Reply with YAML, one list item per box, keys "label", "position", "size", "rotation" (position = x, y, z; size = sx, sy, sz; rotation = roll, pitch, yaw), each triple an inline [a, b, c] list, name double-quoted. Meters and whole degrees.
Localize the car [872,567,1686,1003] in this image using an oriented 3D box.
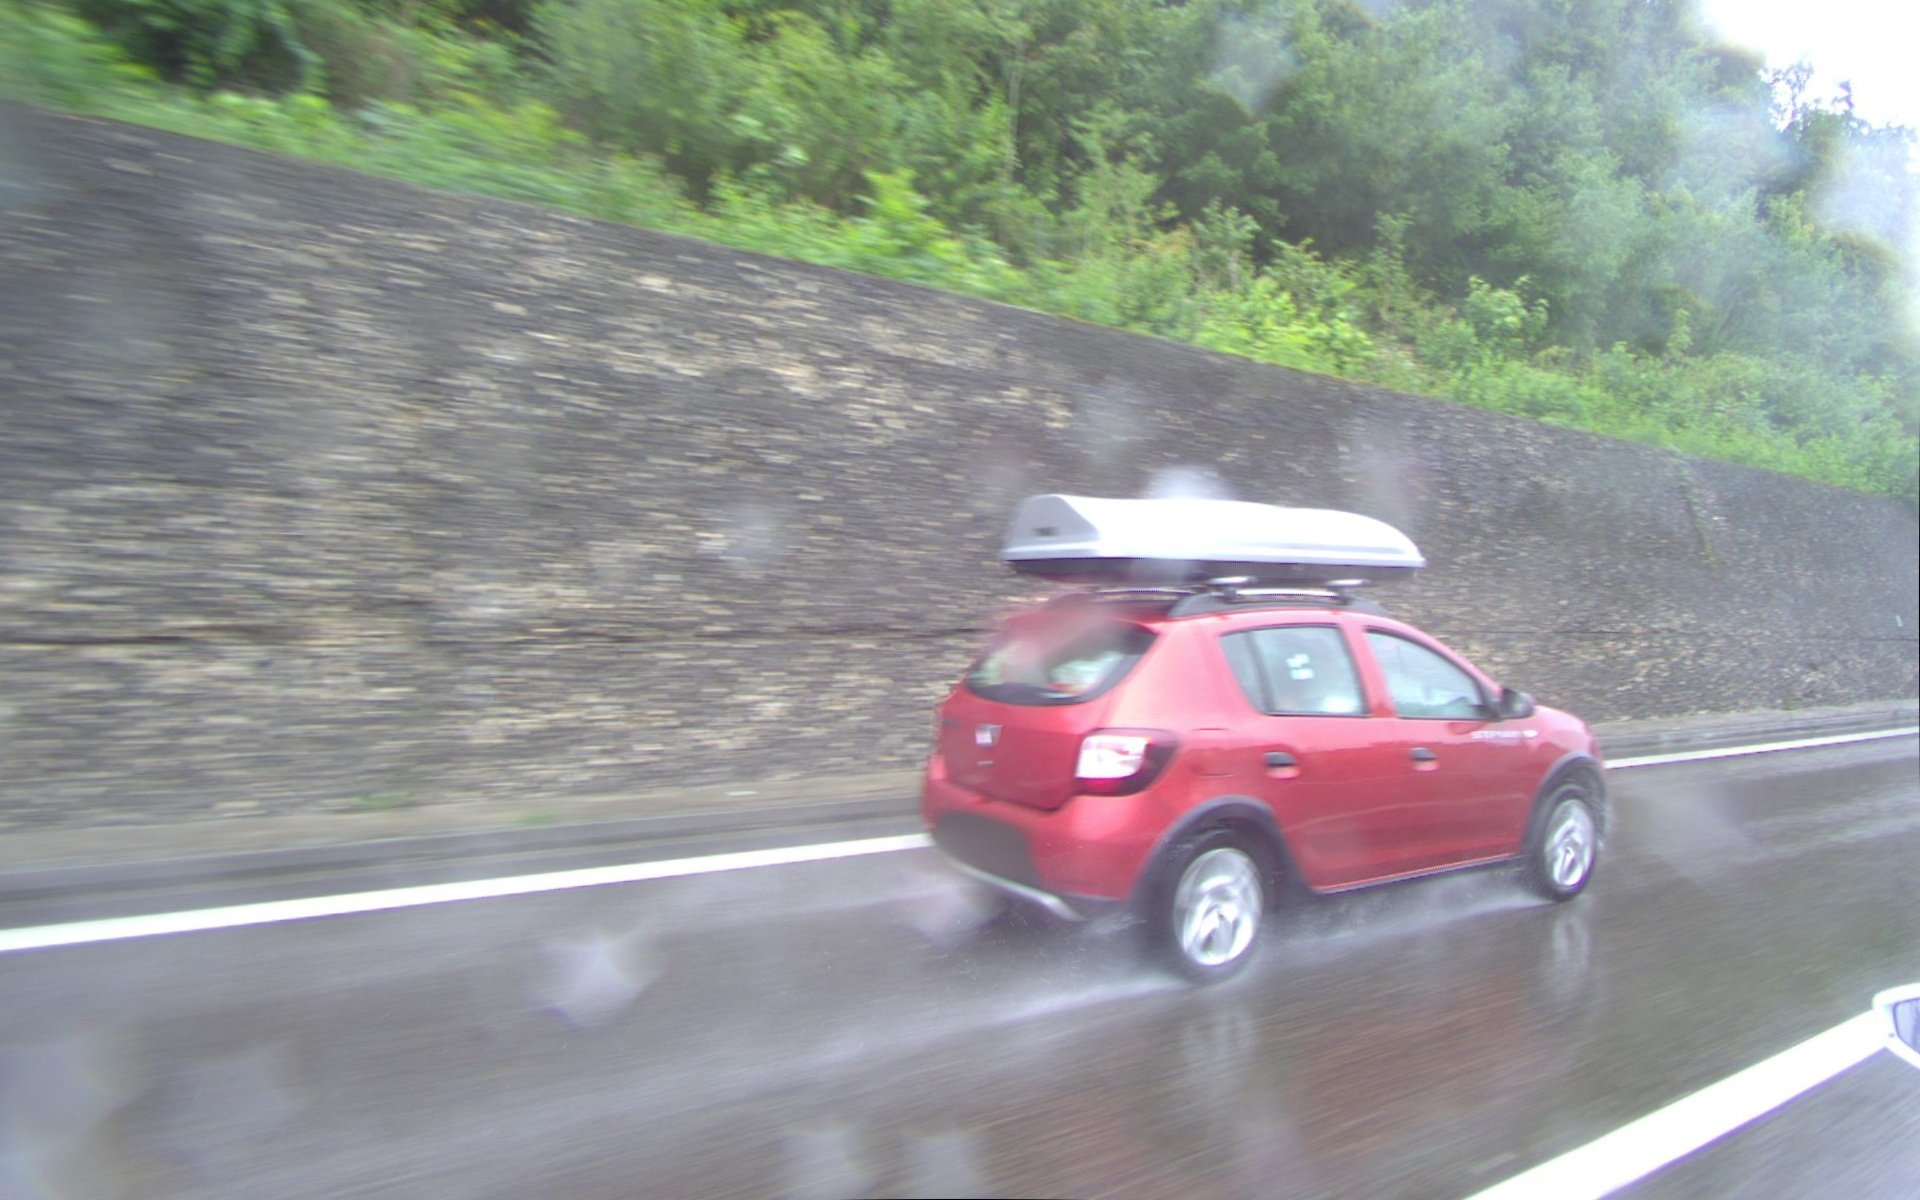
- label: "car"
  position: [1.733, 0.719, 5.426]
  size: [3.949, 1.572, 1.986]
  rotation: [2, -1, -27]
